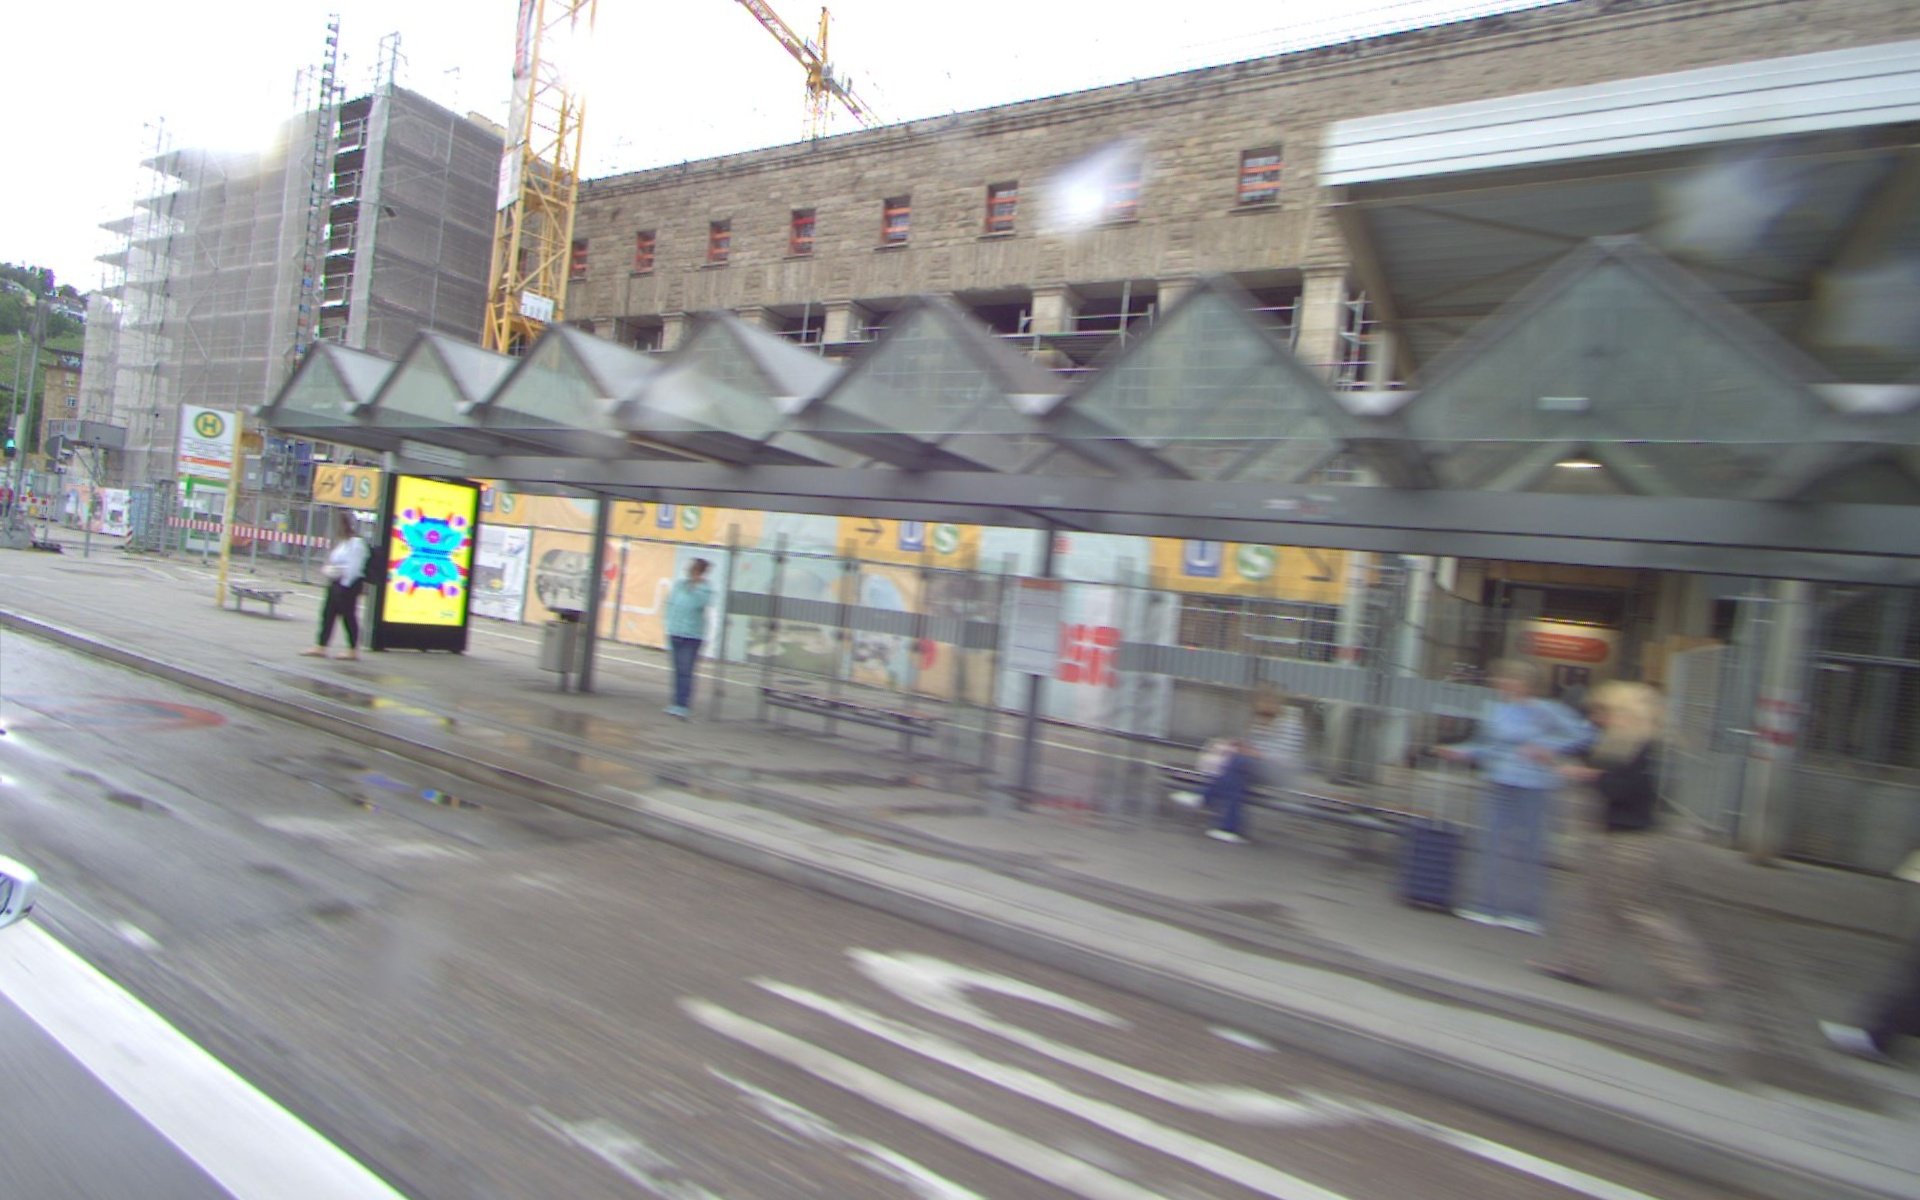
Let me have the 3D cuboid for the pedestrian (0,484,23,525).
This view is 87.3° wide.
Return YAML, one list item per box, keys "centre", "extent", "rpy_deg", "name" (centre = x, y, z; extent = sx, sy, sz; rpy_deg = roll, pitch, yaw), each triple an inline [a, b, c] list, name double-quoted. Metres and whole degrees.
- centre: [-40.342, -4.046, 42.465]
  extent: [0.847, 1.628, 0.769]
  rpy_deg: [7, 1, 19]
  name: "pedestrian"

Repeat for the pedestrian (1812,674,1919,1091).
- centre: [4.439, 1.230, 4.381]
  extent: [0.808, 1.714, 0.763]
  rpy_deg: [7, 1, 30]
  name: "pedestrian"

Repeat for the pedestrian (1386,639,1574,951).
- centre: [3.232, 1.145, 6.245]
  extent: [0.791, 1.680, 0.809]
  rpy_deg: [7, 0, 31]
  name: "pedestrian"

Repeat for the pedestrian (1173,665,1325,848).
- centre: [2.334, 1.222, 8.079]
  extent: [0.826, 1.245, 0.915]
  rpy_deg: [8, -1, 31]
  name: "pedestrian"

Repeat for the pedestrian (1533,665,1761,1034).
- centre: [3.332, 1.158, 4.949]
  extent: [0.716, 1.586, 0.521]
  rpy_deg: [7, 1, 30]
  name: "pedestrian"

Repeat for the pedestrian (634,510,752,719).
- centre: [-2.872, 0.159, 10.935]
  extent: [0.911, 2.075, 0.803]
  rpy_deg: [8, 0, -9]
  name: "pedestrian"

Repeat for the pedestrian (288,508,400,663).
- centre: [-7.271, -0.164, 11.903]
  extent: [0.709, 1.701, 0.703]
  rpy_deg: [7, 1, 4]
  name: "pedestrian"
